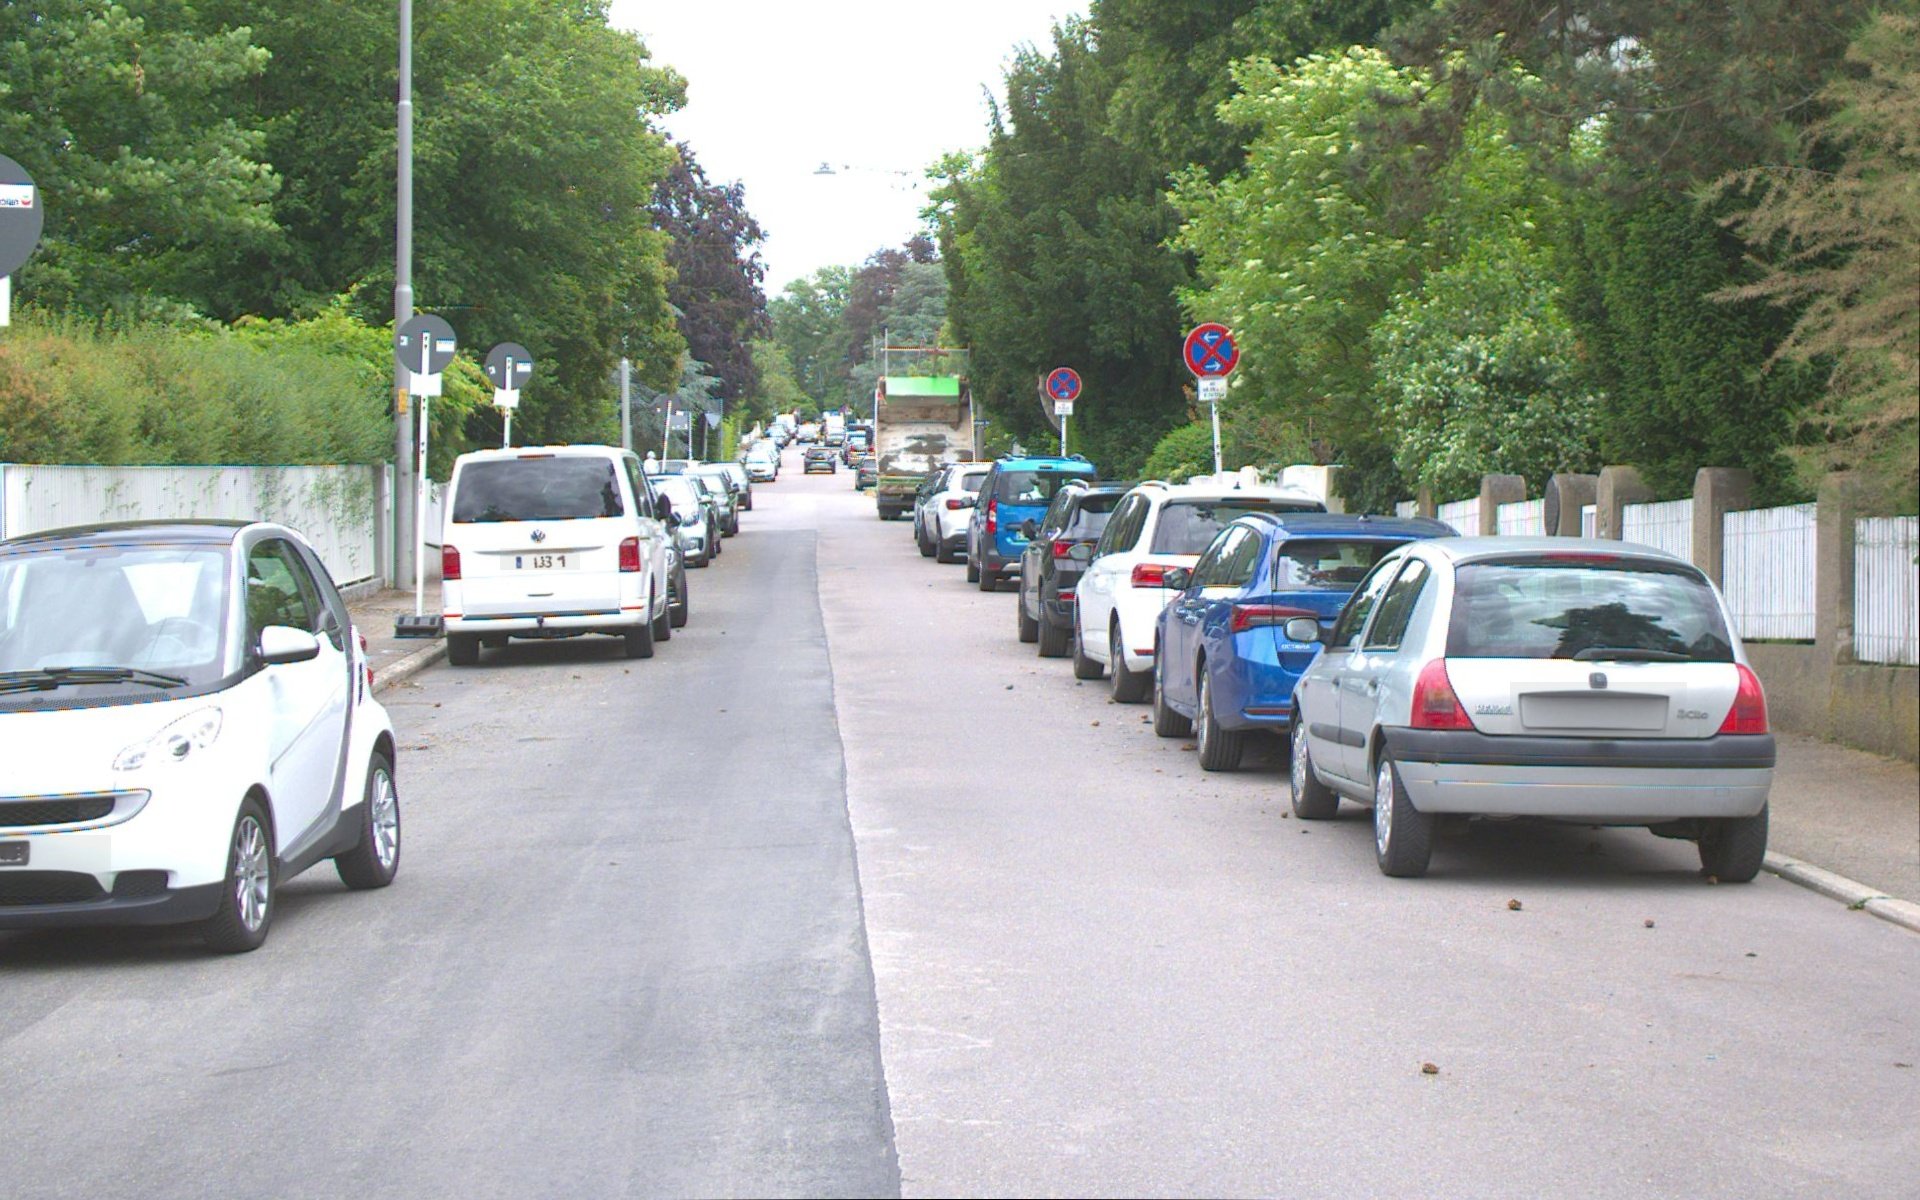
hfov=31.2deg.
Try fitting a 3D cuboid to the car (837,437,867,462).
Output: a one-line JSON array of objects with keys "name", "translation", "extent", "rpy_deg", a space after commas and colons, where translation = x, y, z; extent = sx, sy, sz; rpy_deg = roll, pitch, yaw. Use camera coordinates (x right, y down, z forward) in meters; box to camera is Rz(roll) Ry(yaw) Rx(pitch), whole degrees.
[{"name": "car", "translation": [-6.606, -9.201, 210.580], "extent": [1.789, 1.524, 3.735], "rpy_deg": [0, 3, -1]}]

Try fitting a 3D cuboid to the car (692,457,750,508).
[{"name": "car", "translation": [-7.084, -3.491, 101.944], "extent": [1.637, 1.390, 3.990], "rpy_deg": [-3, 3, -4]}]

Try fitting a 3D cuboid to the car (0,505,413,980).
[{"name": "car", "translation": [-3.184, 0.473, 13.199], "extent": [1.443, 1.546, 2.769], "rpy_deg": [-3, 2, 5]}]

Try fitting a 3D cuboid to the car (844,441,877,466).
[{"name": "car", "translation": [-5.850, -8.592, 201.720], "extent": [1.810, 1.331, 3.633], "rpy_deg": [1, 4, -3]}]

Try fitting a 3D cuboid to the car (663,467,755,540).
[{"name": "car", "translation": [-5.436, -2.126, 74.974], "extent": [1.641, 1.417, 4.550], "rpy_deg": [-3, 3, 0]}]

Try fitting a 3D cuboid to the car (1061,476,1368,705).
[{"name": "car", "translation": [1.895, -0.143, 26.892], "extent": [1.784, 1.598, 4.305], "rpy_deg": [1, 2, -4]}]

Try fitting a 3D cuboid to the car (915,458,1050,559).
[{"name": "car", "translation": [0.339, -1.570, 58.016], "extent": [1.757, 1.600, 4.576], "rpy_deg": [0, 2, -6]}]

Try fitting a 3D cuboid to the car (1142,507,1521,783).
[{"name": "car", "translation": [2.105, 0.191, 20.500], "extent": [1.647, 1.453, 4.052], "rpy_deg": [1, 2, -2]}]

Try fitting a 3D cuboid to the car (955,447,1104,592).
[{"name": "car", "translation": [0.904, -1.141, 47.080], "extent": [1.682, 1.823, 4.158], "rpy_deg": [1, 3, -3]}]

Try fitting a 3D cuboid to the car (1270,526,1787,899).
[{"name": "car", "translation": [2.430, 0.411, 15.519], "extent": [1.573, 1.395, 3.656], "rpy_deg": [1, 2, -2]}]

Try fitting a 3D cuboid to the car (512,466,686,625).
[{"name": "car", "translation": [-4.022, -0.664, 38.780], "extent": [1.790, 1.617, 4.344], "rpy_deg": [-2, 3, -5]}]

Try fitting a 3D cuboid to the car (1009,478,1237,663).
[{"name": "car", "translation": [1.484, -0.331, 32.701], "extent": [1.750, 1.602, 4.076], "rpy_deg": [1, 2, -3]}]

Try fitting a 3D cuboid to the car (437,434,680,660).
[{"name": "car", "translation": [-3.738, -0.550, 32.731], "extent": [1.854, 1.906, 4.620], "rpy_deg": [-3, 2, -2]}]

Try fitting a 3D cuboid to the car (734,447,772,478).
[{"name": "car", "translation": [-10.695, -7.133, 177.844], "extent": [1.711, 1.580, 4.001], "rpy_deg": [0, 3, 0]}]

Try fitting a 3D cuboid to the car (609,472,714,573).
[{"name": "car", "translation": [-4.979, -1.312, 57.146], "extent": [1.621, 1.528, 2.963], "rpy_deg": [-3, 3, -6]}]

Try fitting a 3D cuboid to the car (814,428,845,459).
[{"name": "car", "translation": [-7.224, -8.640, 189.770], "extent": [1.633, 1.695, 3.495], "rpy_deg": [0, 3, -3]}]

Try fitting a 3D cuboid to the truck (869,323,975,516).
[{"name": "truck", "translation": [-1.030, -4.605, 88.516], "extent": [2.524, 4.732, 7.189], "rpy_deg": [1, 2, -2]}]

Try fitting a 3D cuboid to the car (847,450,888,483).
[{"name": "car", "translation": [-4.271, -6.140, 158.135], "extent": [1.778, 1.484, 4.001], "rpy_deg": [0, 2, -3]}]
